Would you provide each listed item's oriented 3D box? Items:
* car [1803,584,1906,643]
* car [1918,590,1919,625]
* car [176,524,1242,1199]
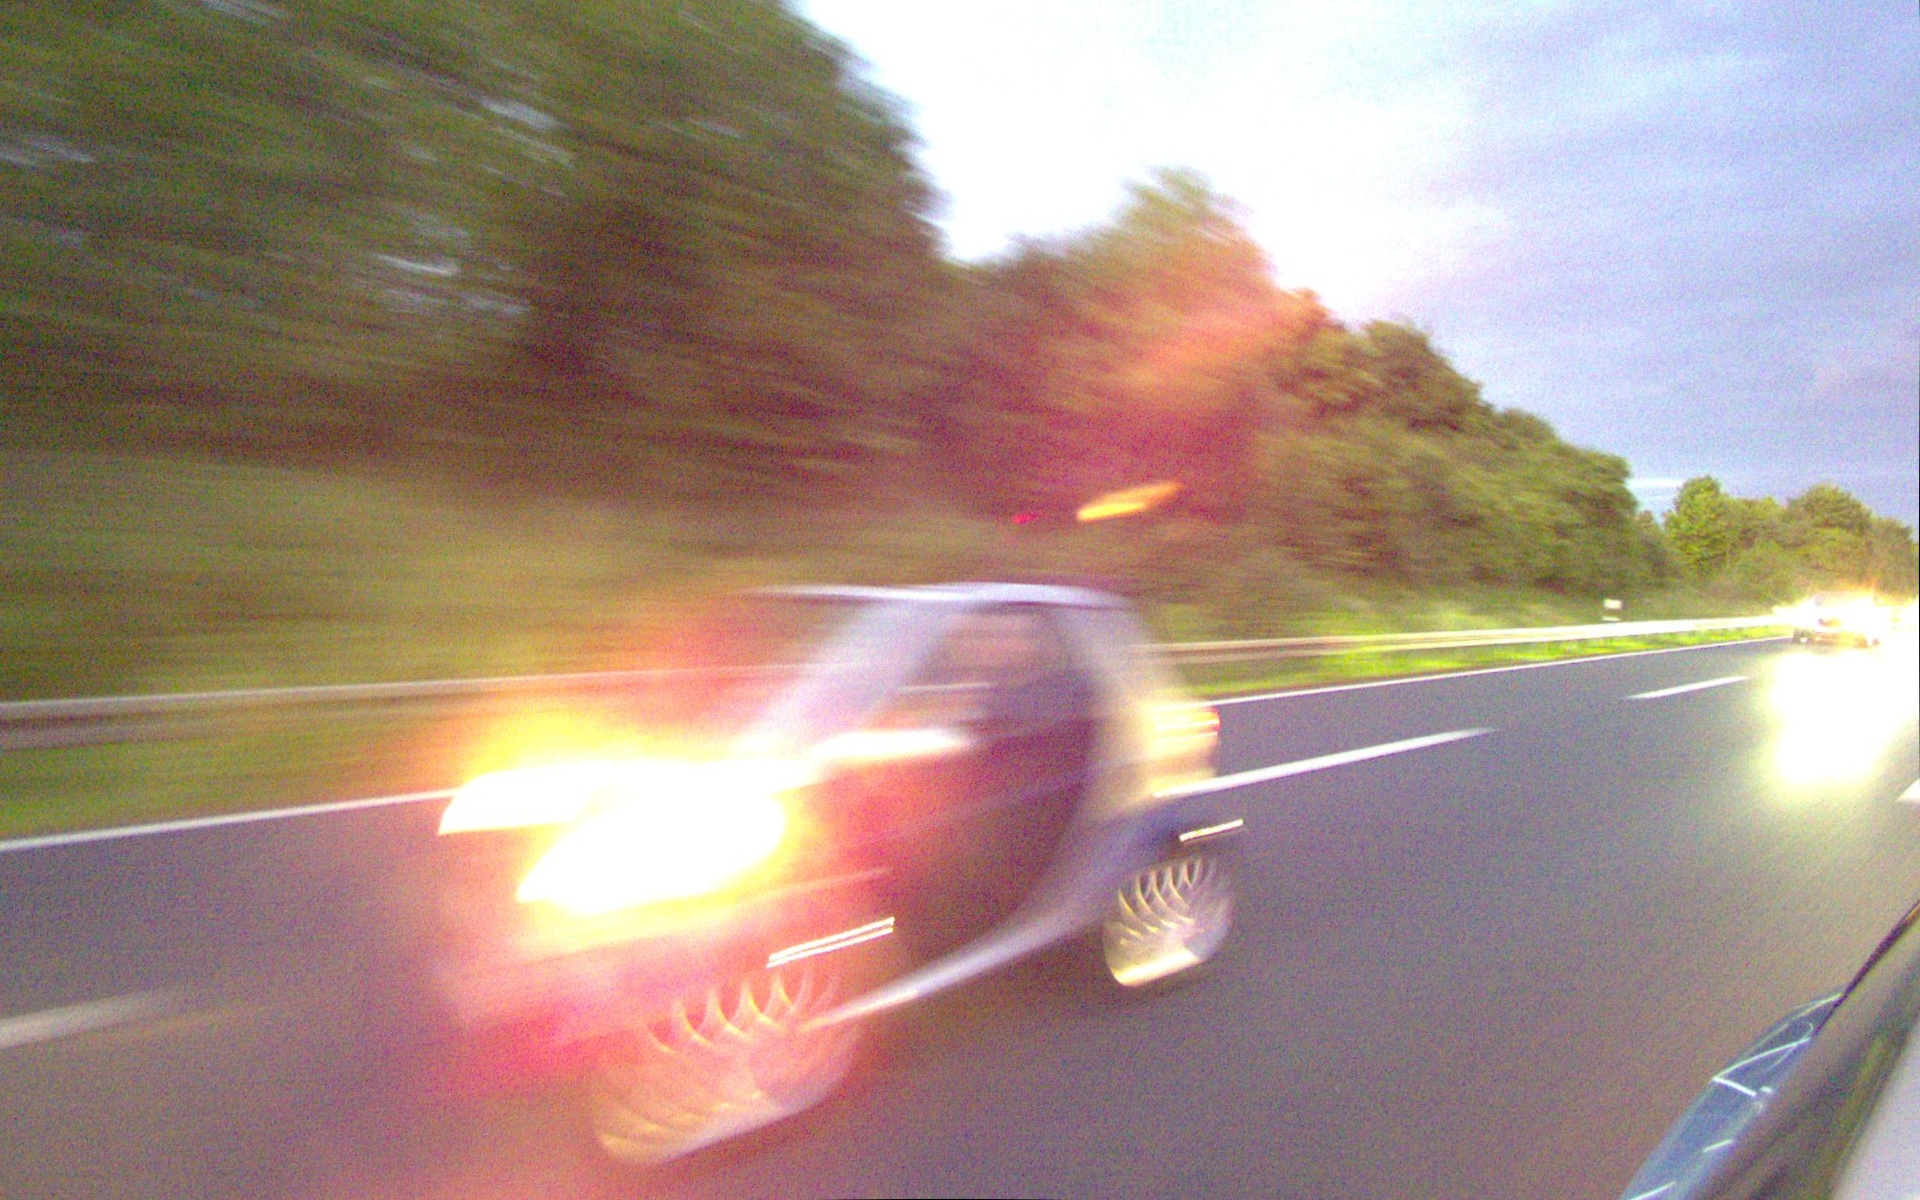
[{"bbox_3d":[28.847,0.376,32.594,5.071,1.665,1.802,0,3,-41],"label":"car"},{"bbox_3d":[44.318,0.309,45.302,5.031,1.511,1.799,0,0,-43],"label":"car"},{"bbox_3d":[-0.633,0.597,3.549,3.262,1.575,1.613,-1,3,-42],"label":"car"}]
